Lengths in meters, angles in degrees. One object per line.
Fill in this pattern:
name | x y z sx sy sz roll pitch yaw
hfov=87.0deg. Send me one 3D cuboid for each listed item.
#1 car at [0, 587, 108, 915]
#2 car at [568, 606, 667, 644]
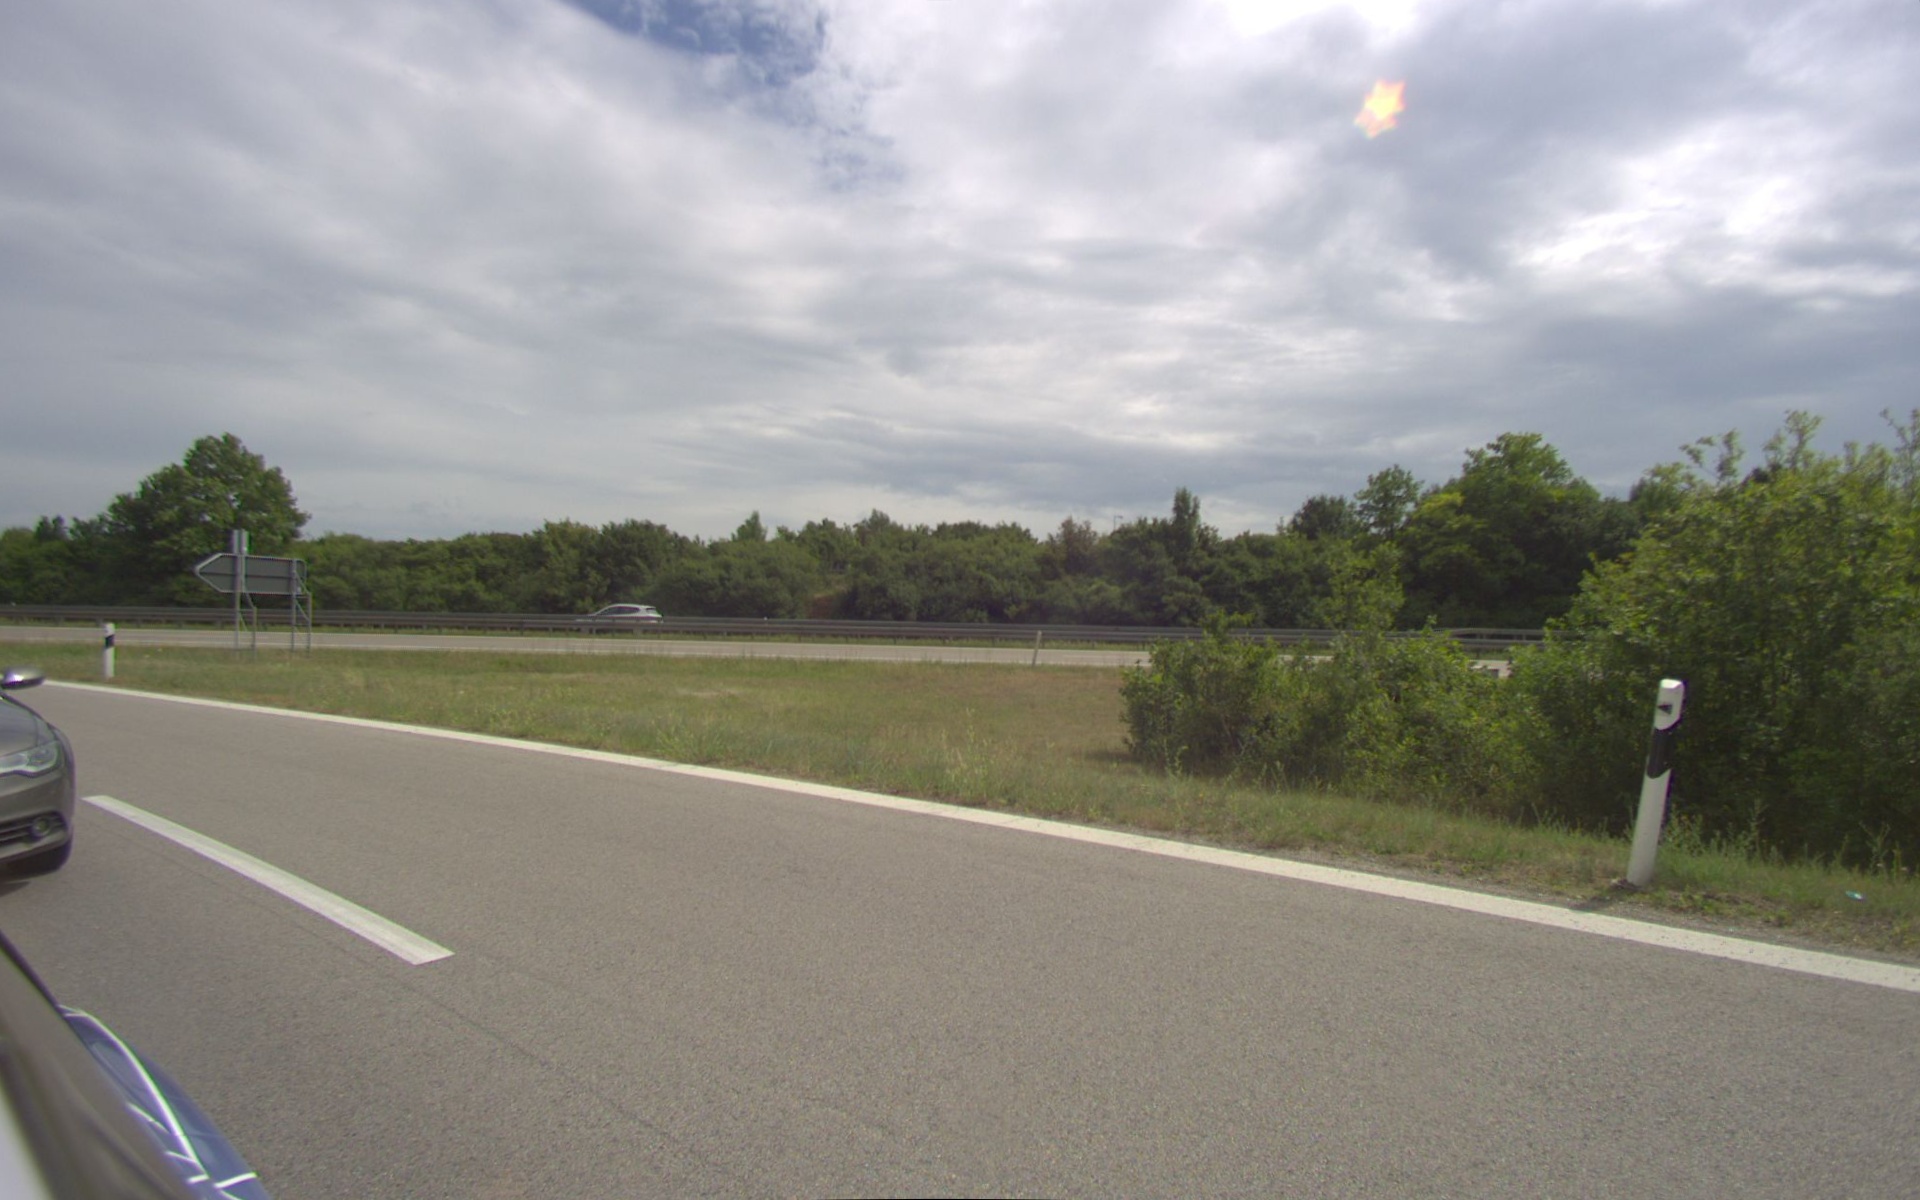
car | -6.603 0.725 5.699 4.534 1.526 1.974 -1 0 39
car | -15.993 1.174 47.413 3.948 1.697 1.998 1 -1 4
